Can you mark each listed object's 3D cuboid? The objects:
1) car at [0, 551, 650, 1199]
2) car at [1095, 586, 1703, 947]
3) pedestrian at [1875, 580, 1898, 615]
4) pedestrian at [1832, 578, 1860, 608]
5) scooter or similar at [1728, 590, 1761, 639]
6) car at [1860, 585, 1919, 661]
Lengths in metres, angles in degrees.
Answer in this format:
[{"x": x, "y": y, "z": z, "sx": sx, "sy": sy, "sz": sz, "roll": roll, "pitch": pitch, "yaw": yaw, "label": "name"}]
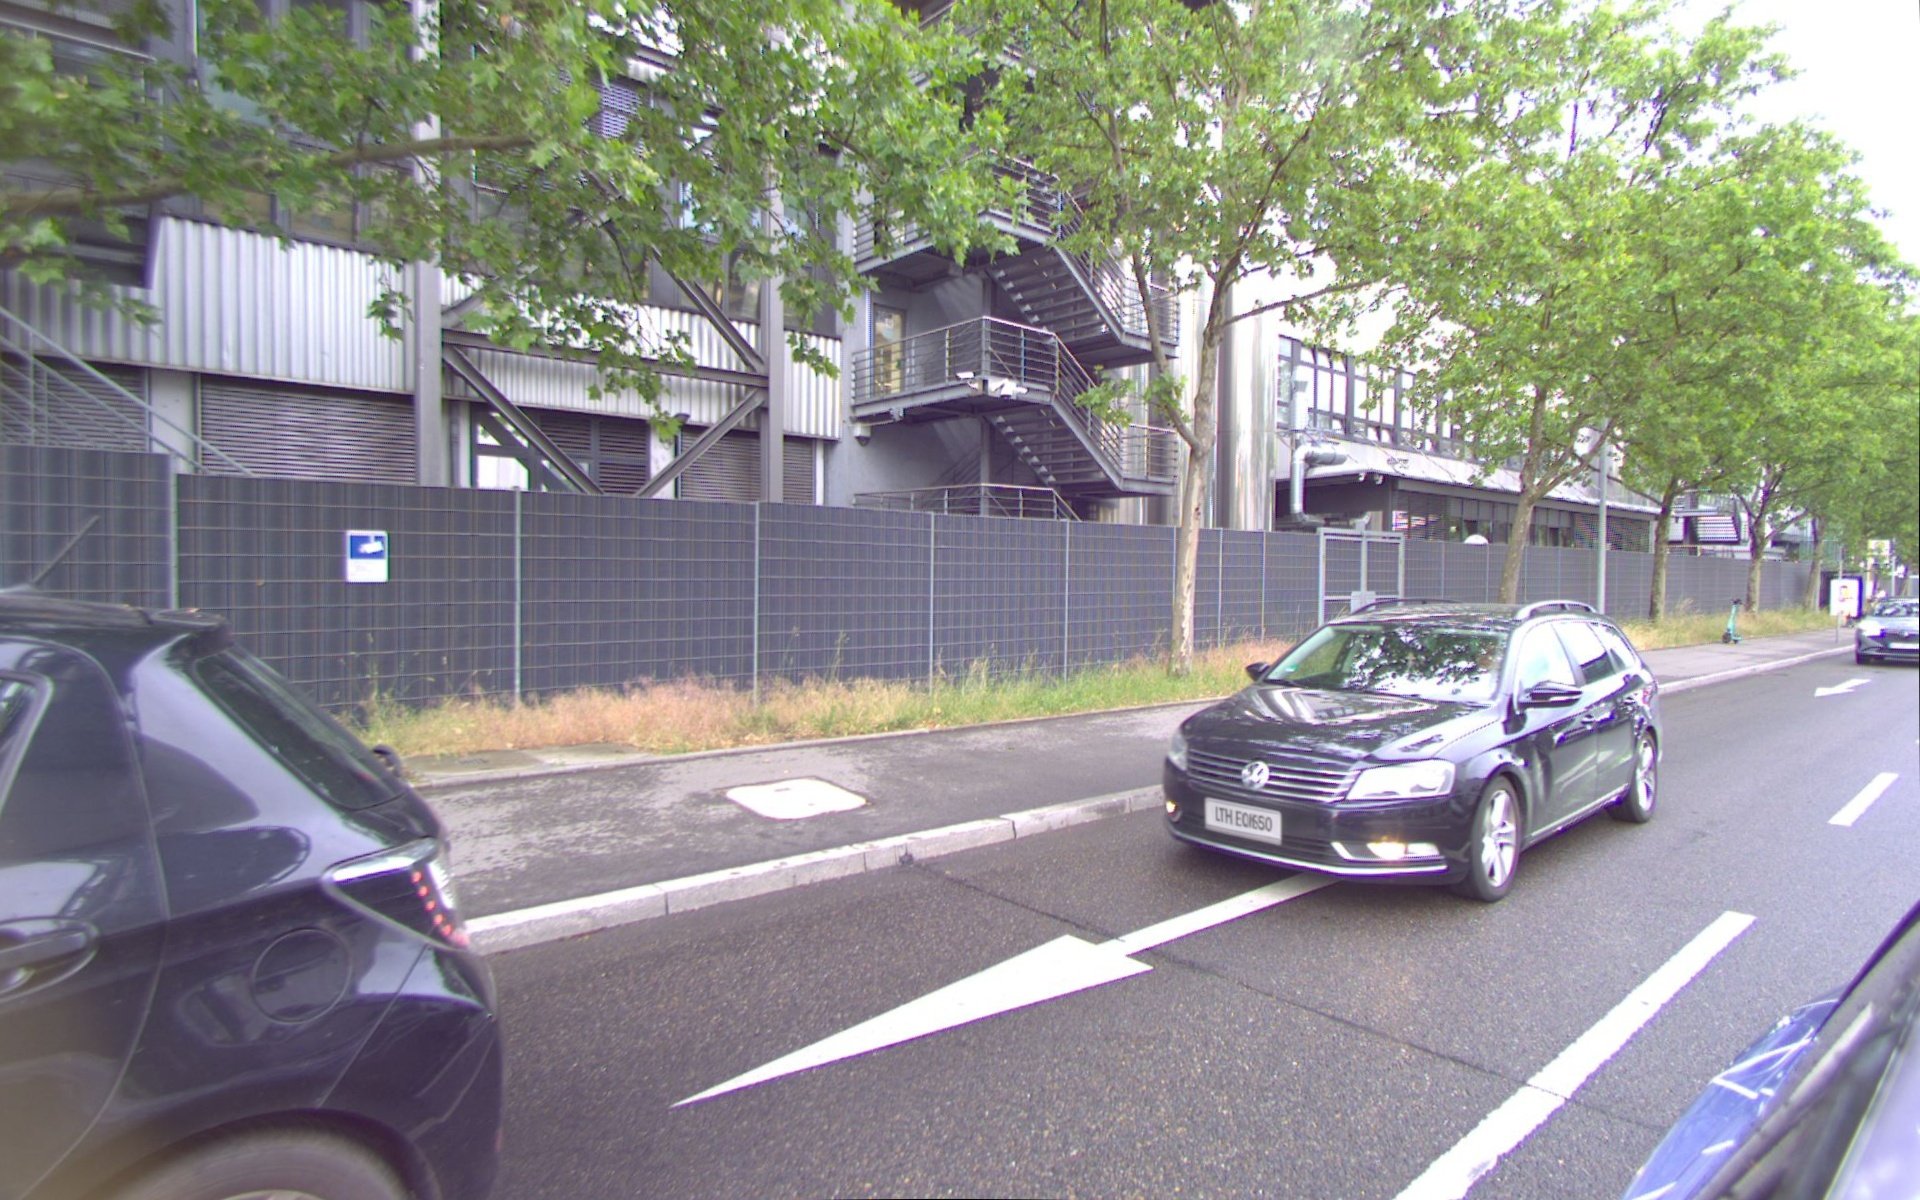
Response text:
[{"x": -2.691, "y": 0.676, "z": 1.245, "sx": 4.010, "sy": 1.512, "sz": 1.877, "roll": 0, "pitch": 3, "yaw": -45, "label": "car"}, {"x": 3.067, "y": 0.660, "z": 6.423, "sx": 4.705, "sy": 1.471, "sz": 1.840, "roll": 0, "pitch": 0, "yaw": -43, "label": "car"}, {"x": 46.416, "y": -0.119, "z": 50.700, "sx": 0.717, "sy": 1.731, "sz": 0.777, "roll": 0, "pitch": 1, "yaw": -42, "label": "pedestrian"}, {"x": 42.888, "y": -0.360, "z": 49.003, "sx": 0.686, "sy": 1.433, "sz": 0.932, "roll": 0, "pitch": 2, "yaw": -42, "label": "pedestrian"}, {"x": 21.344, "y": 0.388, "z": 27.526, "sx": 1.087, "sy": 1.285, "sz": 0.330, "roll": 0, "pitch": 1, "yaw": -33, "label": "scooter or similar"}, {"x": 22.462, "y": 0.505, "z": 23.479, "sx": 4.004, "sy": 1.639, "sz": 1.949, "roll": 0, "pitch": 3, "yaw": -43, "label": "car"}]
